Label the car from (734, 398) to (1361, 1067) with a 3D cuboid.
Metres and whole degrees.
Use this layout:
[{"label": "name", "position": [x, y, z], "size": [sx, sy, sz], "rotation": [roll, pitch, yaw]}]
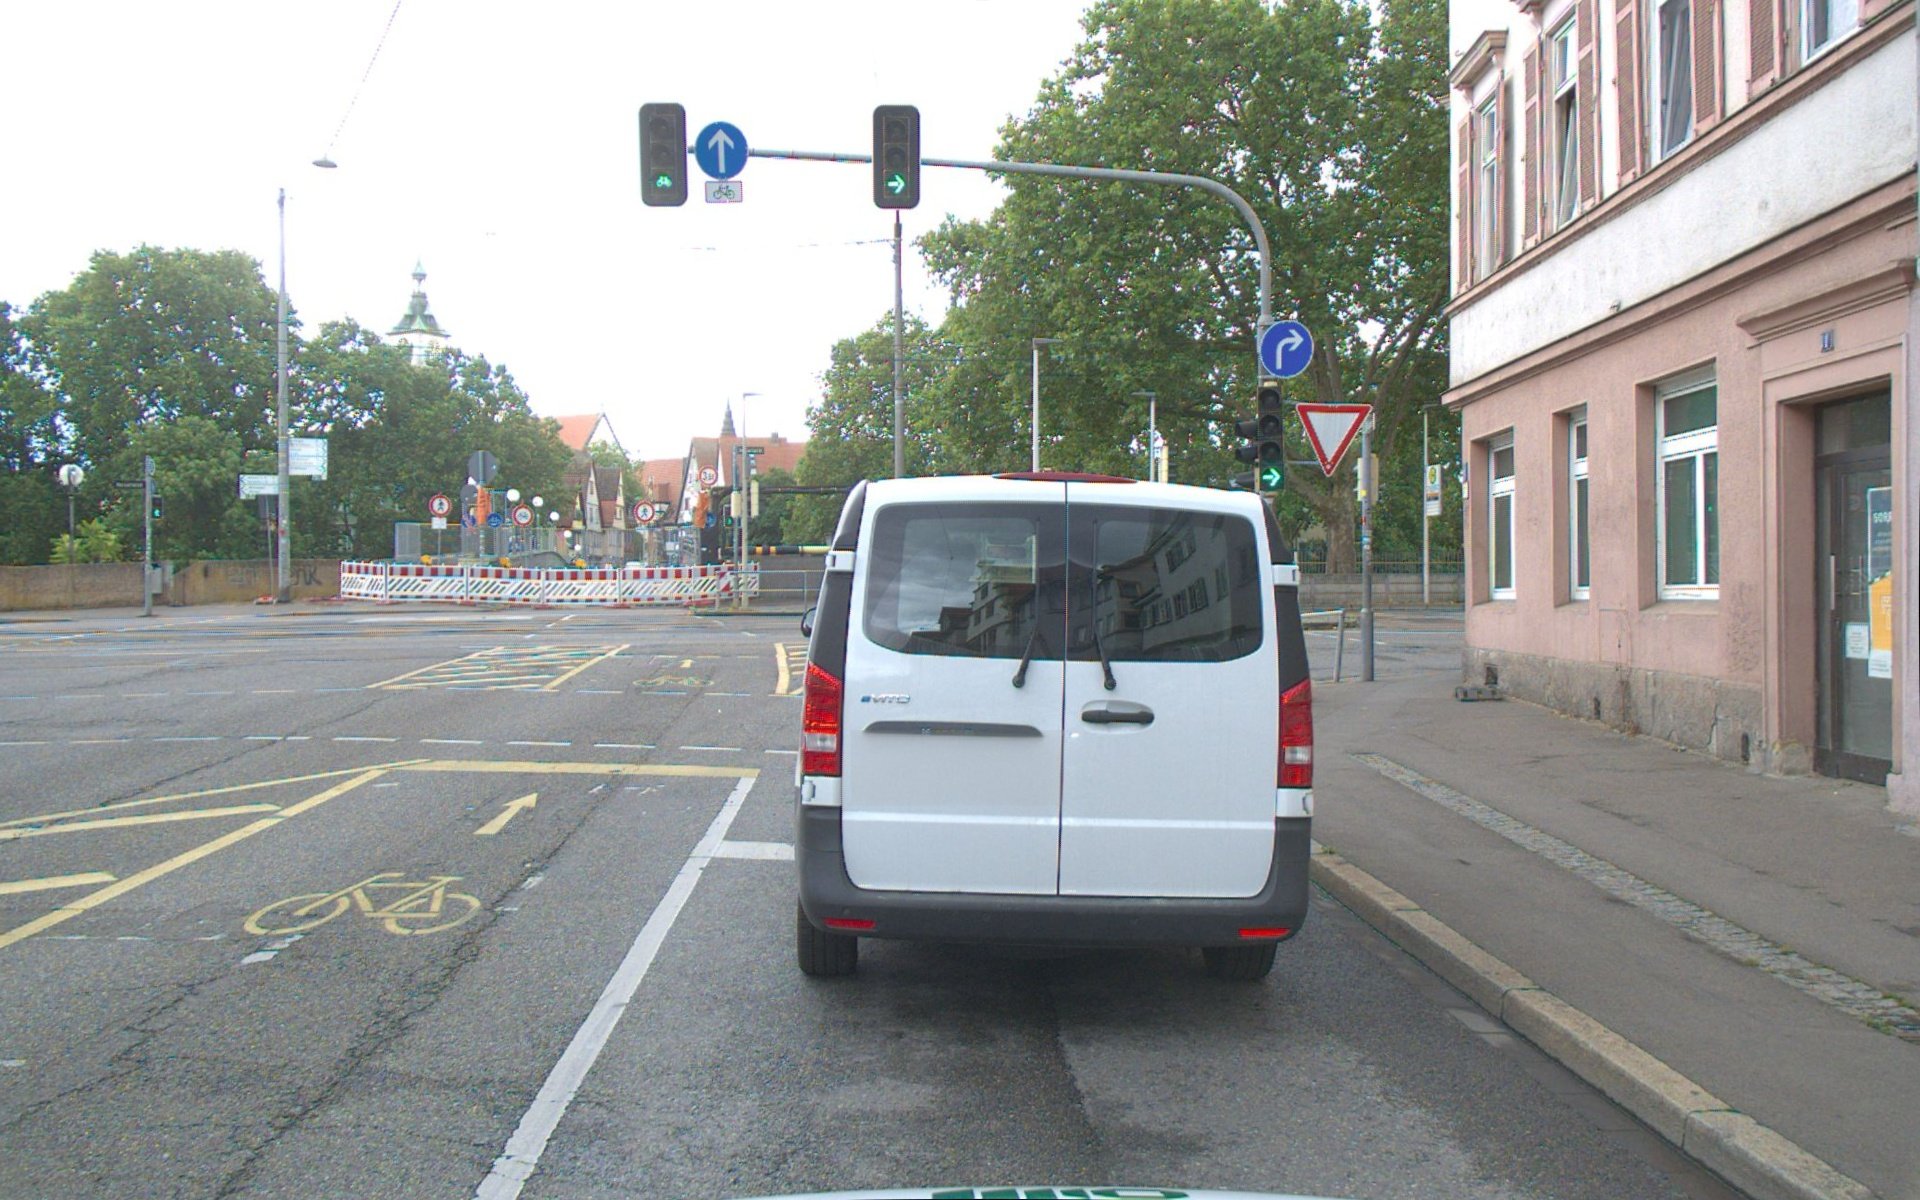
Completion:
[{"label": "car", "position": [0.239, 0.353, 7.476], "size": [1.911, 2.048, 4.698], "rotation": [1, 2, -1]}]
